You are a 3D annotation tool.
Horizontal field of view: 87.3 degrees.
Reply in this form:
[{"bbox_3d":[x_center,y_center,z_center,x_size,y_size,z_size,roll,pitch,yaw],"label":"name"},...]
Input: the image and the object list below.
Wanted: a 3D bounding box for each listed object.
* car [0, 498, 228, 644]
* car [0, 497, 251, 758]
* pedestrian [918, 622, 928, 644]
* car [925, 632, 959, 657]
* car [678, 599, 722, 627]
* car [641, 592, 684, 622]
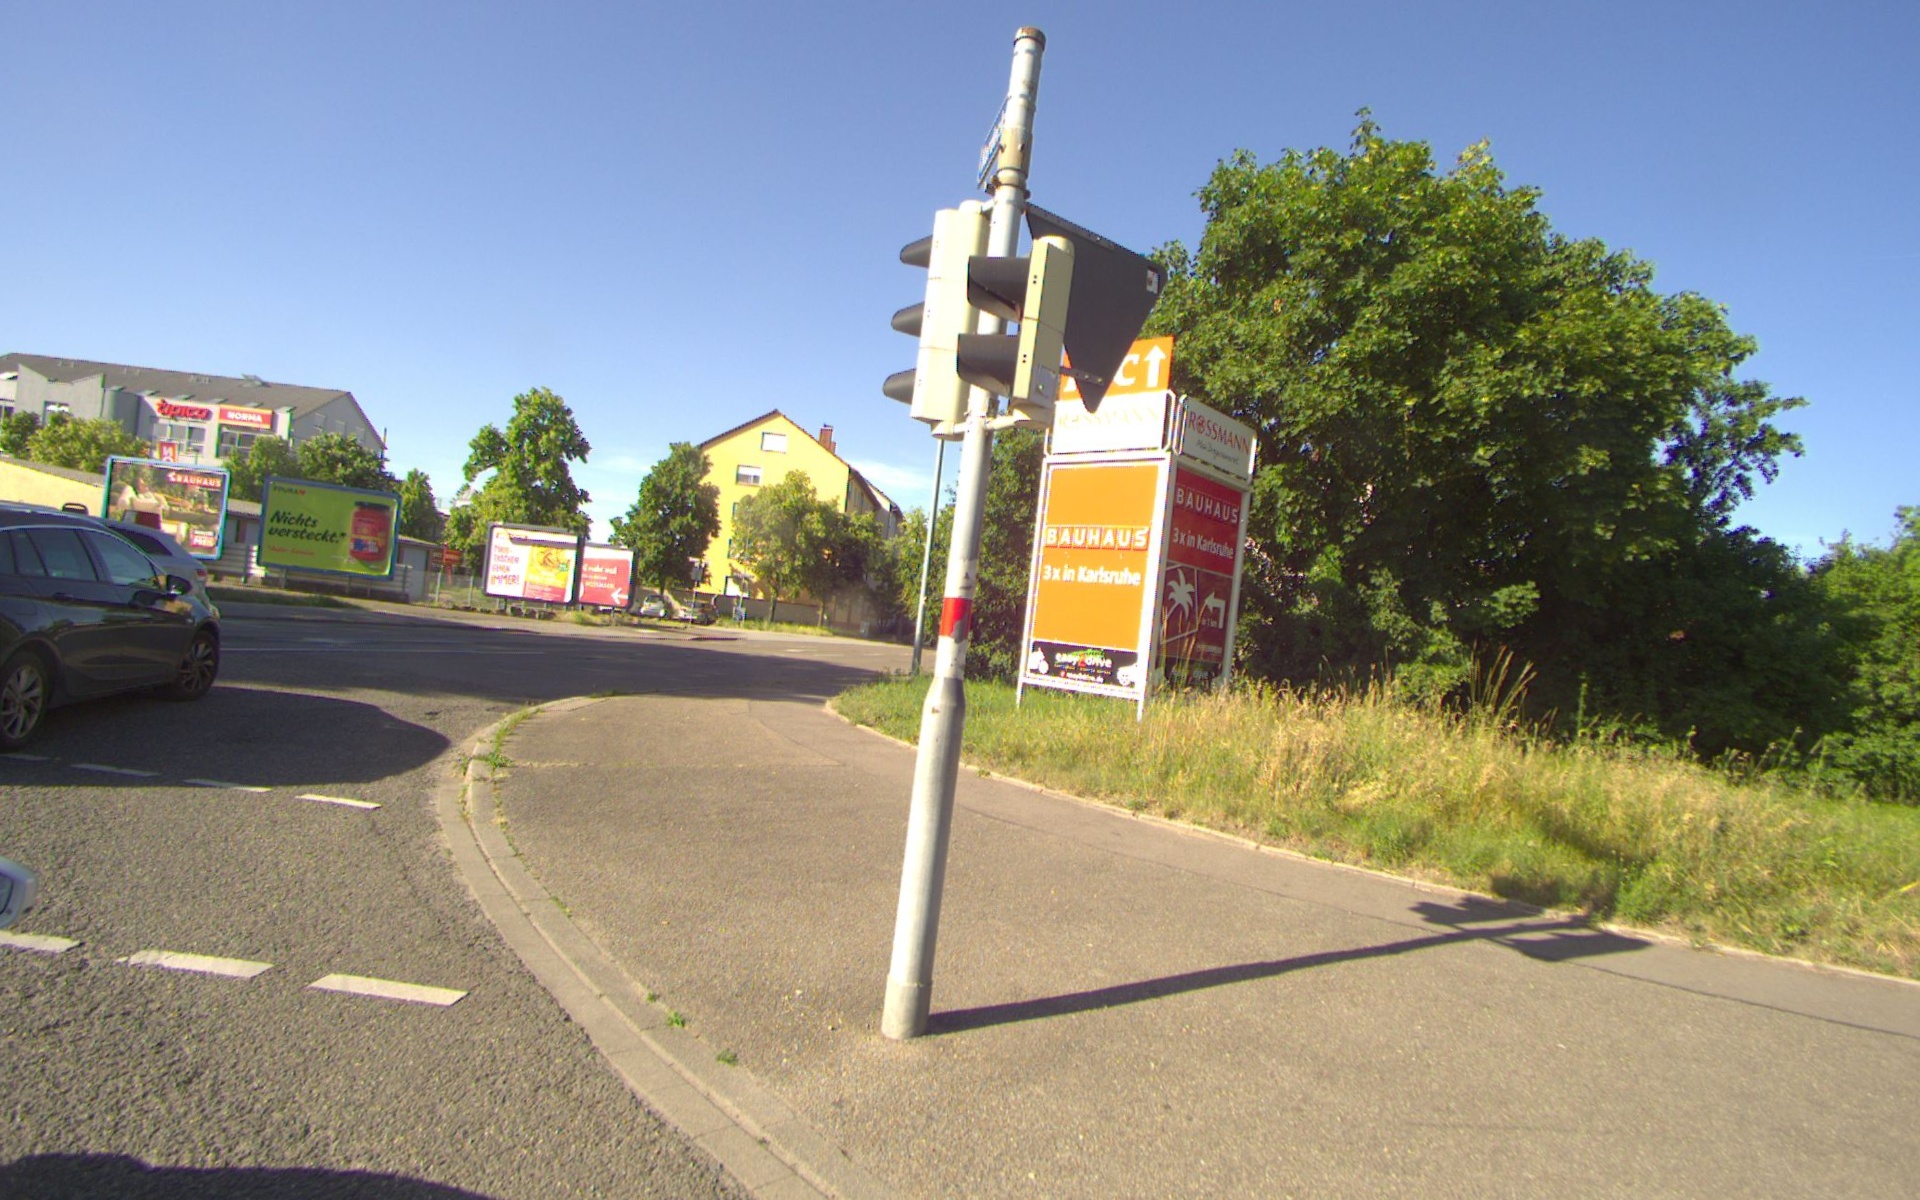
[{"bbox_3d":[-10.949,-0.392,10.865,1.807,1.506,4.895,5,-2,11],"label":"car"},{"bbox_3d":[-6.750,0.057,6.880,1.742,1.508,4.277,8,-2,-18],"label":"car"},{"bbox_3d":[-3.079,2.759,83.411,0.496,1.780,0.696,5,-3,8],"label":"pedestrian"},{"bbox_3d":[-1.285,3.324,74.115,1.674,1.496,4.060,8,-3,8],"label":"car"},{"bbox_3d":[-16.166,0.834,62.676,1.702,1.482,3.881,6,-1,-1],"label":"car"},{"bbox_3d":[-18.833,0.471,63.899,1.672,1.641,3.881,6,-1,-4],"label":"car"}]
